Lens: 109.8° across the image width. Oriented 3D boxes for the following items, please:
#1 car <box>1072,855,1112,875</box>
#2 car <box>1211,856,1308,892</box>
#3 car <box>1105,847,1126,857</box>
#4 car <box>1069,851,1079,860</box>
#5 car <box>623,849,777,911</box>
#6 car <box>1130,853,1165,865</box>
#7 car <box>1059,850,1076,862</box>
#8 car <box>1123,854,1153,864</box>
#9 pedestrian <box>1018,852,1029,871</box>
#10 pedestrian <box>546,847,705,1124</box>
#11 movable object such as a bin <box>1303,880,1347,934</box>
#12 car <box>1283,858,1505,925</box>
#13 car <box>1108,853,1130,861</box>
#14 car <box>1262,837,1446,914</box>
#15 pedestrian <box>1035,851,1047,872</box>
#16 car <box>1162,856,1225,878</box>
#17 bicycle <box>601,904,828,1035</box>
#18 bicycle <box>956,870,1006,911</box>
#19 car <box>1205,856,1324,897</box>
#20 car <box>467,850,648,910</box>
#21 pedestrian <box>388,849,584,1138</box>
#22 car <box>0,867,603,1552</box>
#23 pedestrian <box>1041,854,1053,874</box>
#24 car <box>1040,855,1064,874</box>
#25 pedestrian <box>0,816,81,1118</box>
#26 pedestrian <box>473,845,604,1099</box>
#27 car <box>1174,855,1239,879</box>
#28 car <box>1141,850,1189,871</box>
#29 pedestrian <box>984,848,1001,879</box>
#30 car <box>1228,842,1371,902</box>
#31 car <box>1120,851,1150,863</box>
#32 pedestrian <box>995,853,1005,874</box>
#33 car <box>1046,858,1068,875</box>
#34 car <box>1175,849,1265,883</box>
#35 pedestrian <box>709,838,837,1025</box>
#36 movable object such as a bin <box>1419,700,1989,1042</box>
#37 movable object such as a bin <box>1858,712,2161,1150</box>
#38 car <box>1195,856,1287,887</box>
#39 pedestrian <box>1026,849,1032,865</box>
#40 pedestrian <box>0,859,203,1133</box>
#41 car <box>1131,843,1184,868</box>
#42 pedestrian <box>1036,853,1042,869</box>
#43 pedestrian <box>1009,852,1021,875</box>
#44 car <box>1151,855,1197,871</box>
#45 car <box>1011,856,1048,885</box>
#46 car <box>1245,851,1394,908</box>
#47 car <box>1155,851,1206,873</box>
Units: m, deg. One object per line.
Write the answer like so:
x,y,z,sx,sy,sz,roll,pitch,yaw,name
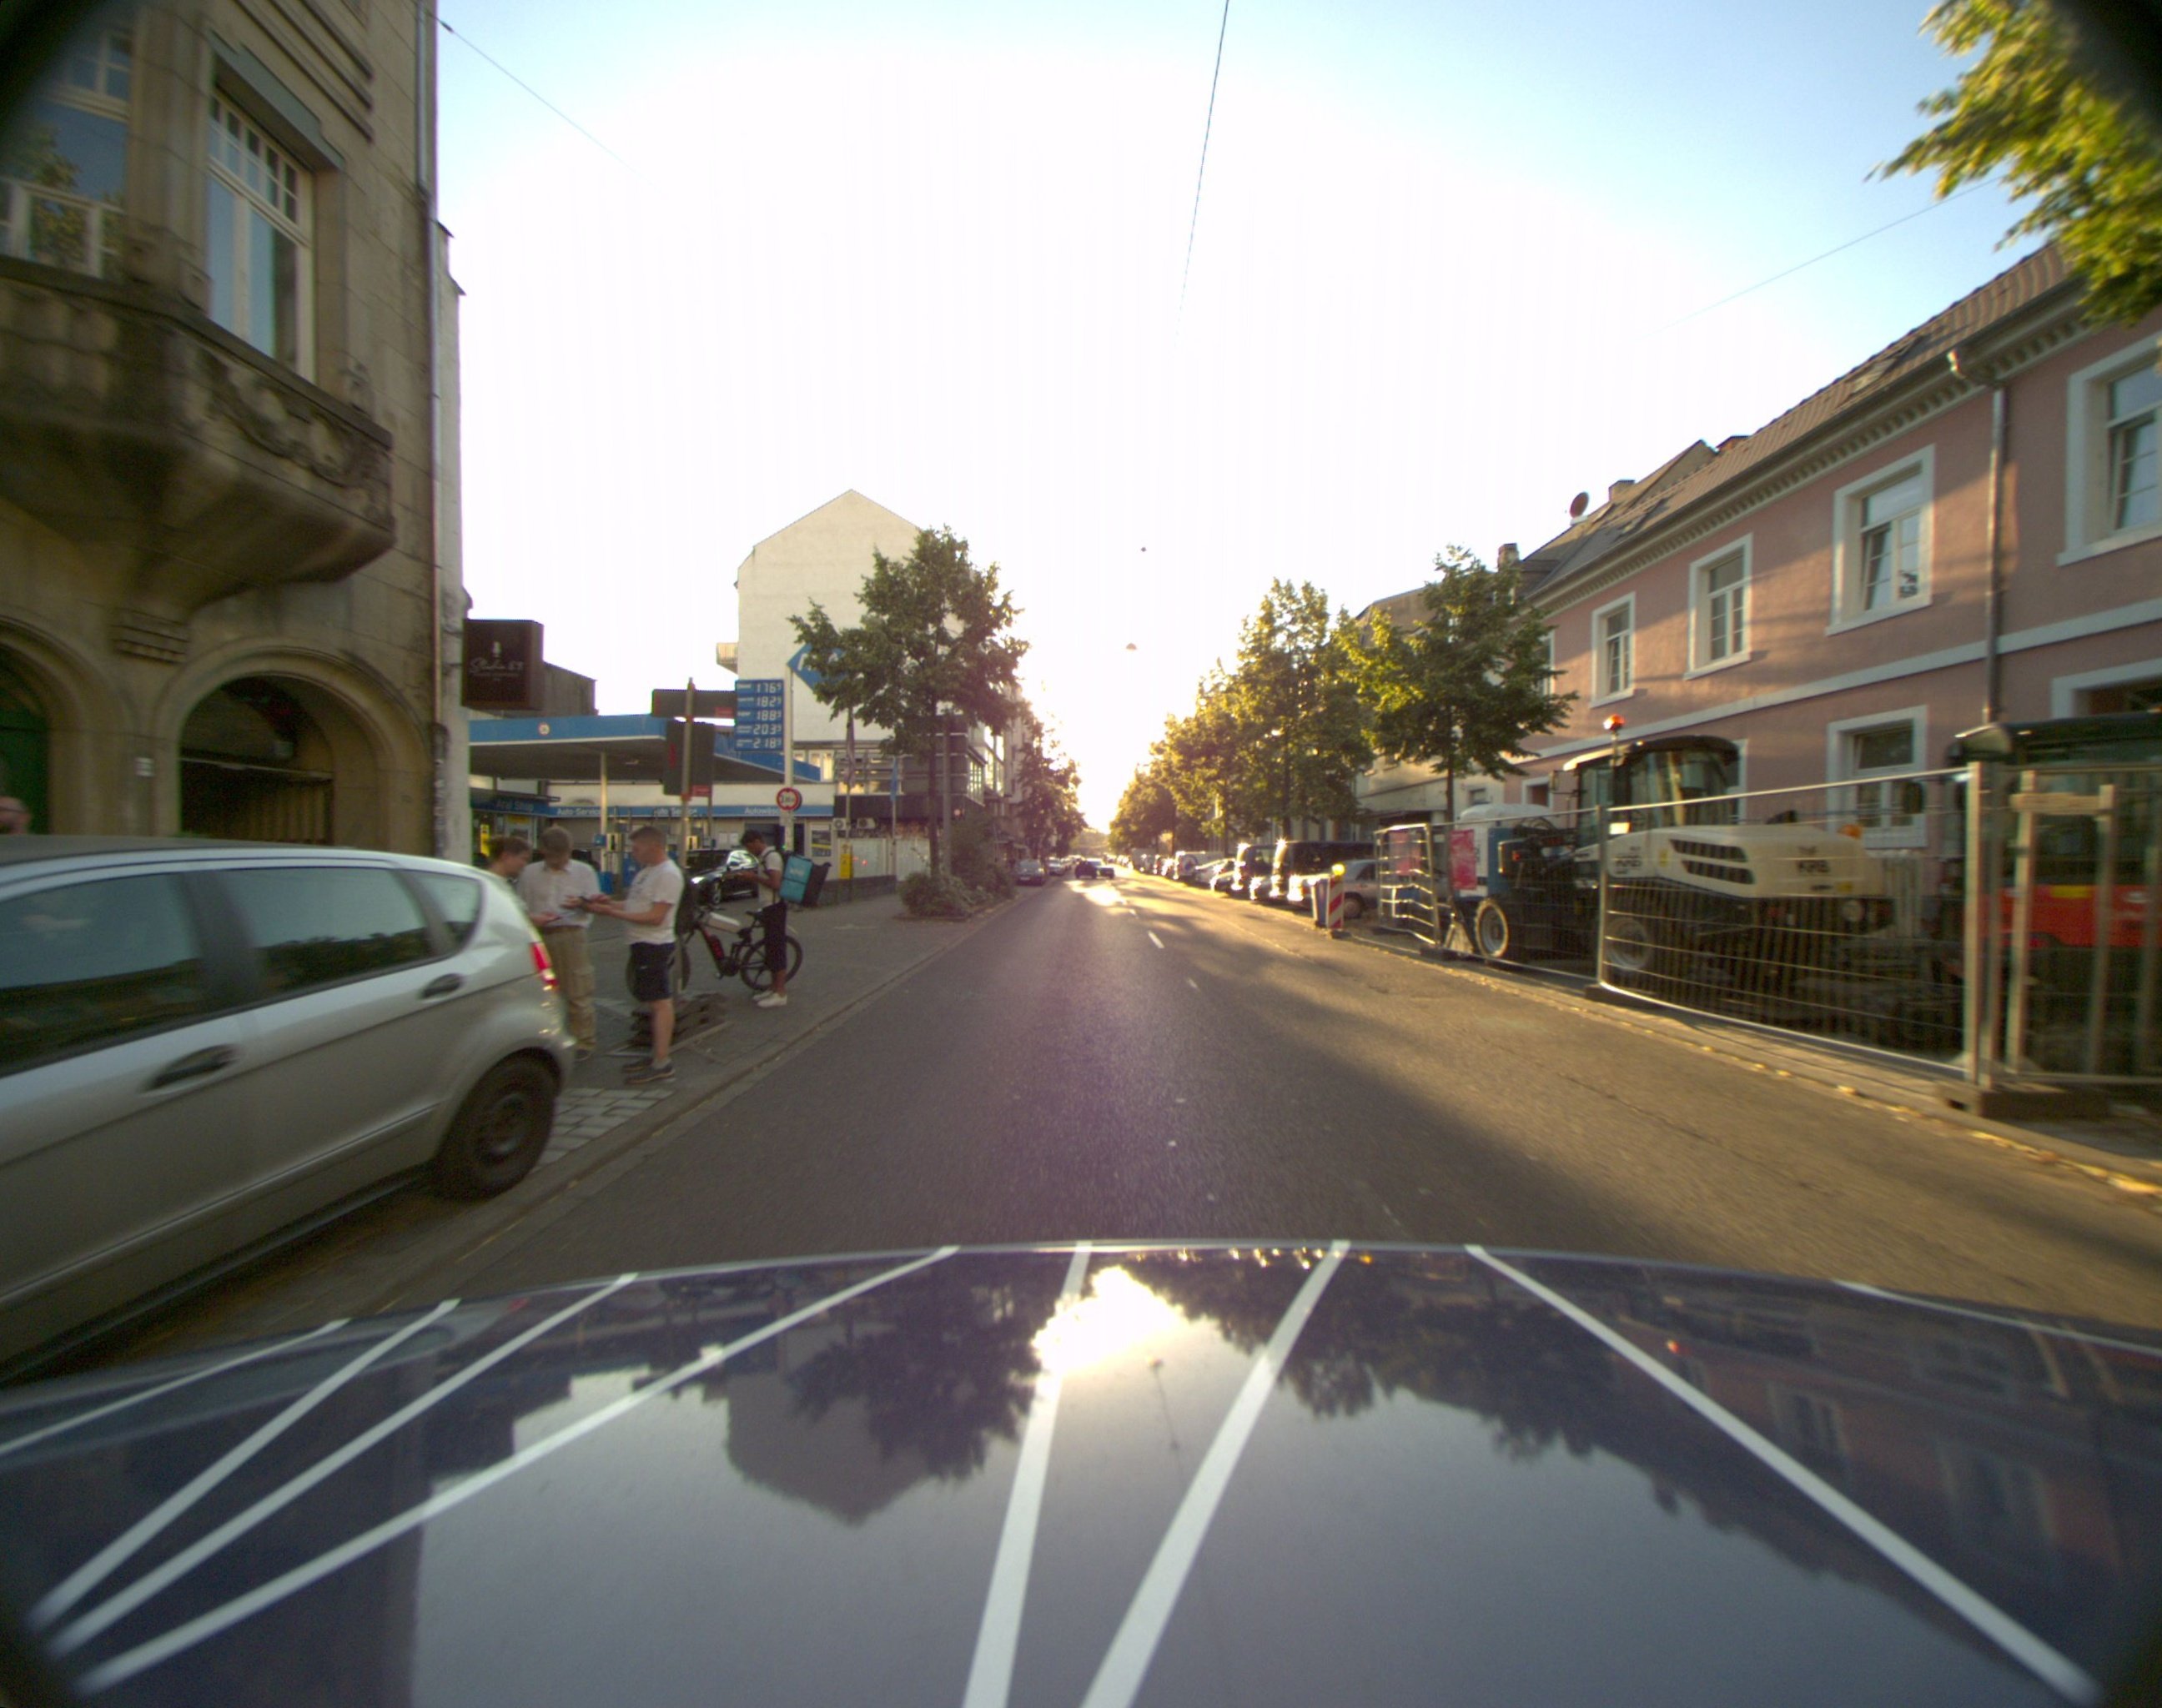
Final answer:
0.785,0.838,57.482,1.687,1.453,4.065,0,0,-20,car
7.941,0.868,34.100,3.932,1.492,1.905,-1,0,3,car
8.246,-0.461,181.497,4.782,2.344,2.153,0,0,-27,car
-1.644,0.400,180.920,1.867,1.900,4.256,3,0,3,car
-10.234,0.623,20.909,1.739,1.422,4.907,1,1,1,car
8.466,0.613,96.555,4.197,1.474,1.970,-2,0,0,car
-1.596,0.271,93.776,1.778,1.431,5.001,2,0,3,car
8.726,0.718,116.566,4.393,1.414,1.822,-2,0,0,car
-4.904,0.606,64.568,0.829,1.629,0.827,0,1,1,pedestrian
-3.090,0.829,5.241,0.679,1.744,0.824,0,1,-10,pedestrian
5.278,1.135,16.456,0.691,1.098,0.883,1,0,2,movable object such as a bin
7.441,0.877,18.462,4.604,1.461,1.893,-1,0,3,car
8.248,0.628,164.552,4.579,1.548,1.809,0,0,-37,car
7.639,0.581,21.579,4.495,1.964,1.965,-1,0,-1,car
-3.390,0.634,63.785,0.924,1.749,0.762,1,1,1,pedestrian
7.672,0.867,52.142,4.047,1.475,1.963,0,0,0,car
-3.769,1.123,7.964,0.864,1.092,1.931,2,0,40,bicycle
-2.952,1.067,22.650,0.482,1.136,1.684,3,1,31,bicycle
7.429,0.899,31.030,4.338,1.492,1.841,-1,0,-4,car
-14.226,0.623,21.063,1.714,1.394,4.758,1,1,1,car
-3.804,0.832,4.935,0.680,1.696,0.824,2,1,-14,pedestrian
-3.445,0.886,2.050,1.691,1.566,4.013,2,0,1,car
-2.882,0.878,64.556,0.924,1.685,0.762,0,1,1,pedestrian
-2.567,0.904,68.470,1.884,1.565,4.692,2,0,1,car
-6.933,0.696,4.843,0.462,1.864,0.500,0,0,-14,pedestrian
-3.959,0.800,5.545,0.654,1.690,0.666,2,1,-43,pedestrian
8.159,0.855,49.696,4.046,1.546,1.965,0,0,3,car
8.186,0.639,74.452,4.510,1.942,1.919,-1,0,3,car
-5.236,0.572,44.814,0.858,1.784,0.997,1,1,0,pedestrian
7.653,0.620,26.945,4.494,1.964,2.068,-1,0,1,car
8.786,0.531,124.437,4.718,1.800,2.053,-2,0,2,car
-5.817,0.687,54.338,0.612,1.516,0.773,1,1,1,pedestrian
-2.333,1.168,73.989,1.846,1.472,5.190,2,0,1,car
8.049,0.677,44.297,4.882,1.897,1.974,0,0,1,car
-3.131,0.770,7.823,1.017,1.815,0.779,2,1,-9,pedestrian
6.591,0.147,9.257,2.631,2.951,5.303,0,0,0,movable object such as a bin
8.204,0.416,6.291,2.307,2.480,5.767,0,0,44,movable object such as a bin
8.270,0.890,39.572,4.488,1.476,1.734,-1,0,3,car
-6.028,0.371,88.350,0.590,1.799,0.836,2,1,0,pedestrian
-6.233,0.825,4.740,0.660,1.553,0.701,2,1,1,pedestrian
8.555,0.166,85.067,5.672,2.606,2.171,-2,0,1,car
-4.885,0.796,88.421,0.627,1.857,0.976,2,1,0,pedestrian
-4.944,0.719,56.743,0.790,1.694,0.700,1,1,1,pedestrian
8.724,0.849,71.695,4.162,1.431,1.594,-1,0,2,car
-2.875,0.871,43.145,1.833,1.479,4.849,2,0,-1,car
7.503,0.785,24.213,4.140,1.627,1.860,-1,0,1,car
8.348,0.679,64.138,4.148,1.796,1.807,0,0,2,car
